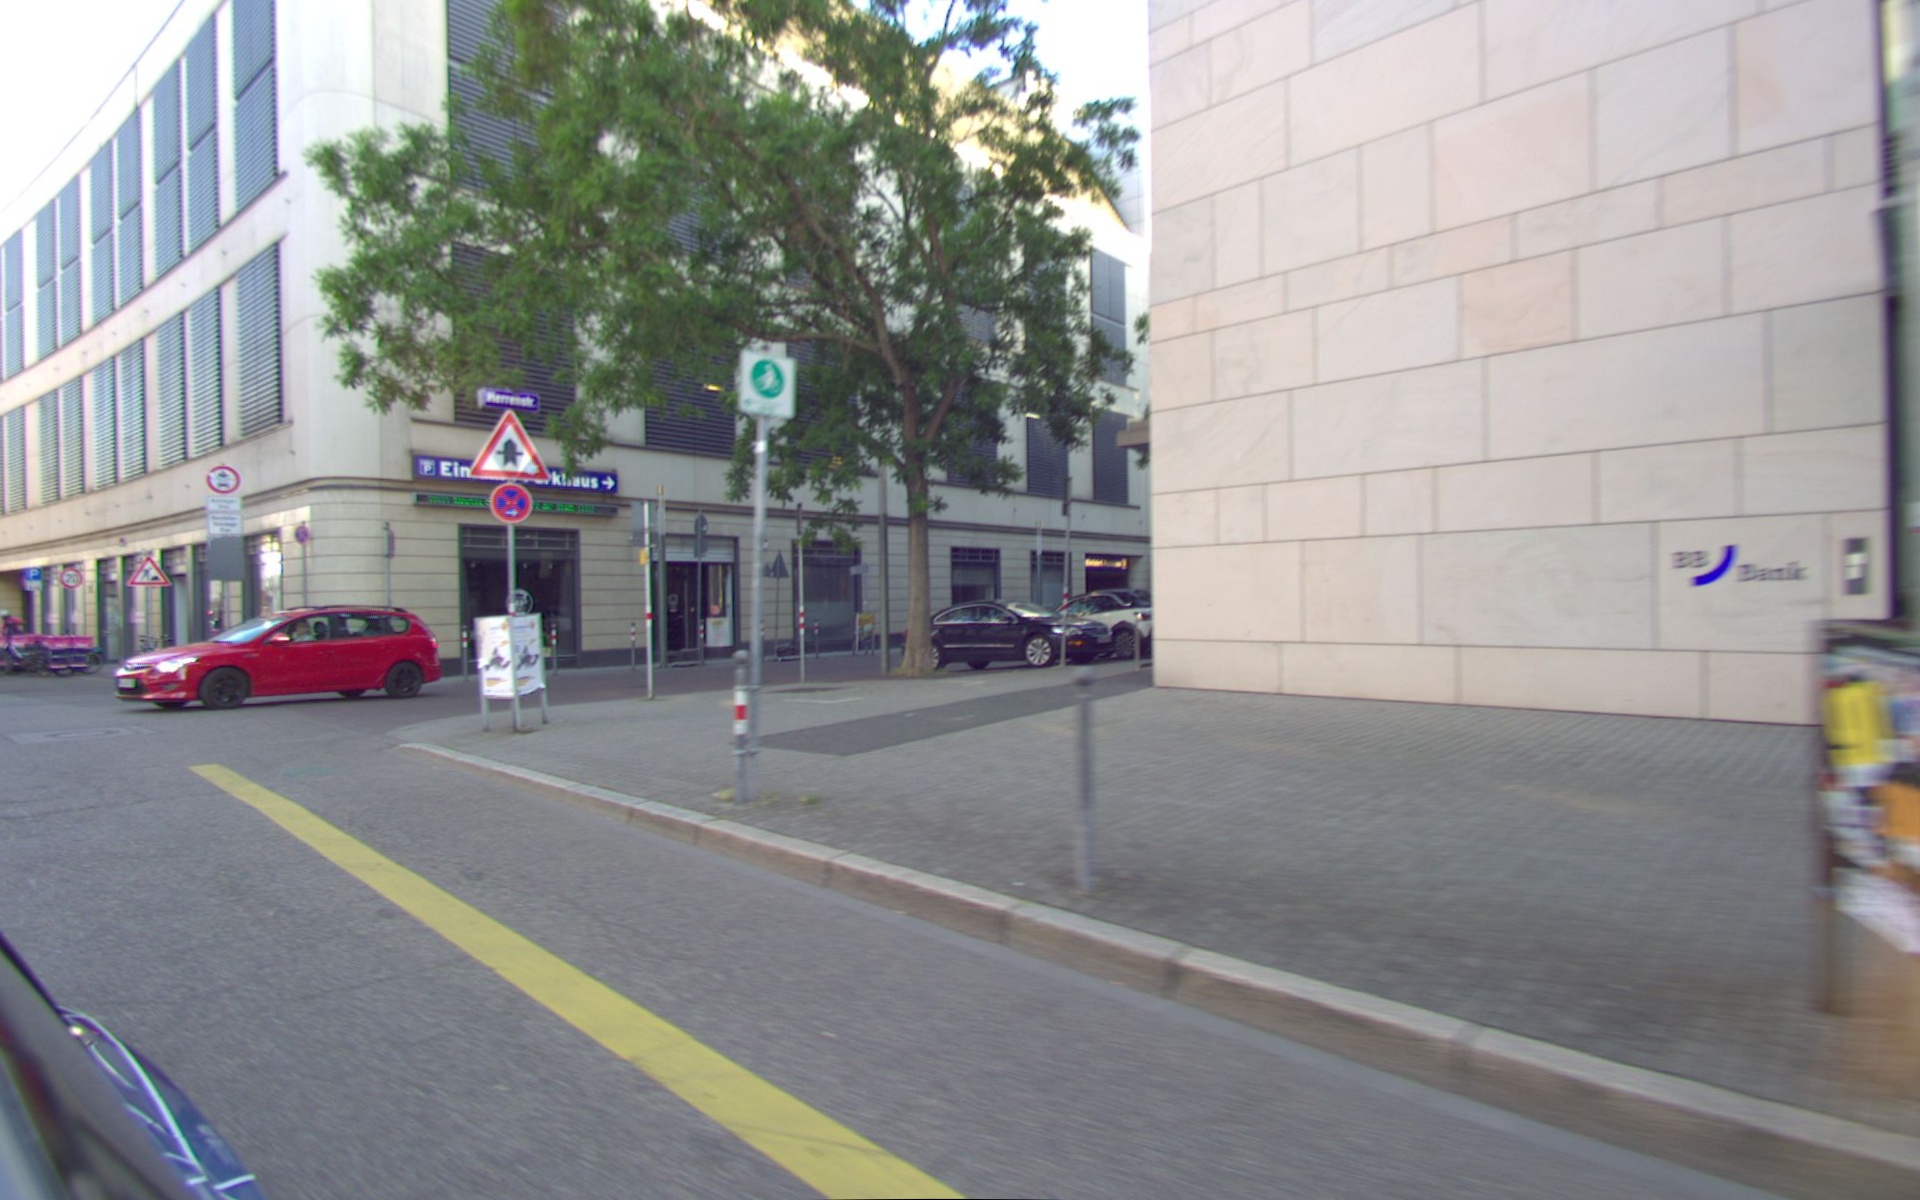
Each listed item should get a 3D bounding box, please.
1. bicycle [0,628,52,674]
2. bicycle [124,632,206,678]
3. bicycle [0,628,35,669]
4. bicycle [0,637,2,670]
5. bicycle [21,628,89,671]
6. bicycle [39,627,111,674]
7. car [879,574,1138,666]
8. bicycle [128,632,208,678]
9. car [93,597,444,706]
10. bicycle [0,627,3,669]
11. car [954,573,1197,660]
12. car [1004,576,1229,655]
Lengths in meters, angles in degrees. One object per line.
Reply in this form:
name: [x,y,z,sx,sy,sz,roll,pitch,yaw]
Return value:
bicycle: [-26.693,1.436,28.604,1.493,1.259,0.354,0,0,-34]
bicycle: [-19.171,1.313,24.436,1.493,1.041,0.354,-1,0,-29]
bicycle: [-30.160,1.526,31.880,1.495,1.259,0.353,0,0,-38]
bicycle: [-28.852,1.571,29.387,0.353,0.960,1.497,0,0,44]
bicycle: [-27.437,1.494,30.702,1.493,1.259,0.354,0,0,-34]
bicycle: [-25.094,1.410,28.715,0.353,1.259,1.497,0,0,44]
car: [0.883,0.467,20.592,5.014,1.463,1.974,-6,-4,38]
bicycle: [-19.361,1.339,24.774,1.493,1.041,0.354,-1,0,-29]
car: [-10.674,0.750,15.980,1.821,1.476,4.221,-1,-2,29]
bicycle: [-29.507,1.437,30.100,1.496,1.259,0.353,0,0,-42]
car: [2.468,0.416,22.459,5.014,1.511,1.974,-6,-4,38]
car: [3.699,0.433,24.545,5.014,1.511,1.974,-6,-4,38]
